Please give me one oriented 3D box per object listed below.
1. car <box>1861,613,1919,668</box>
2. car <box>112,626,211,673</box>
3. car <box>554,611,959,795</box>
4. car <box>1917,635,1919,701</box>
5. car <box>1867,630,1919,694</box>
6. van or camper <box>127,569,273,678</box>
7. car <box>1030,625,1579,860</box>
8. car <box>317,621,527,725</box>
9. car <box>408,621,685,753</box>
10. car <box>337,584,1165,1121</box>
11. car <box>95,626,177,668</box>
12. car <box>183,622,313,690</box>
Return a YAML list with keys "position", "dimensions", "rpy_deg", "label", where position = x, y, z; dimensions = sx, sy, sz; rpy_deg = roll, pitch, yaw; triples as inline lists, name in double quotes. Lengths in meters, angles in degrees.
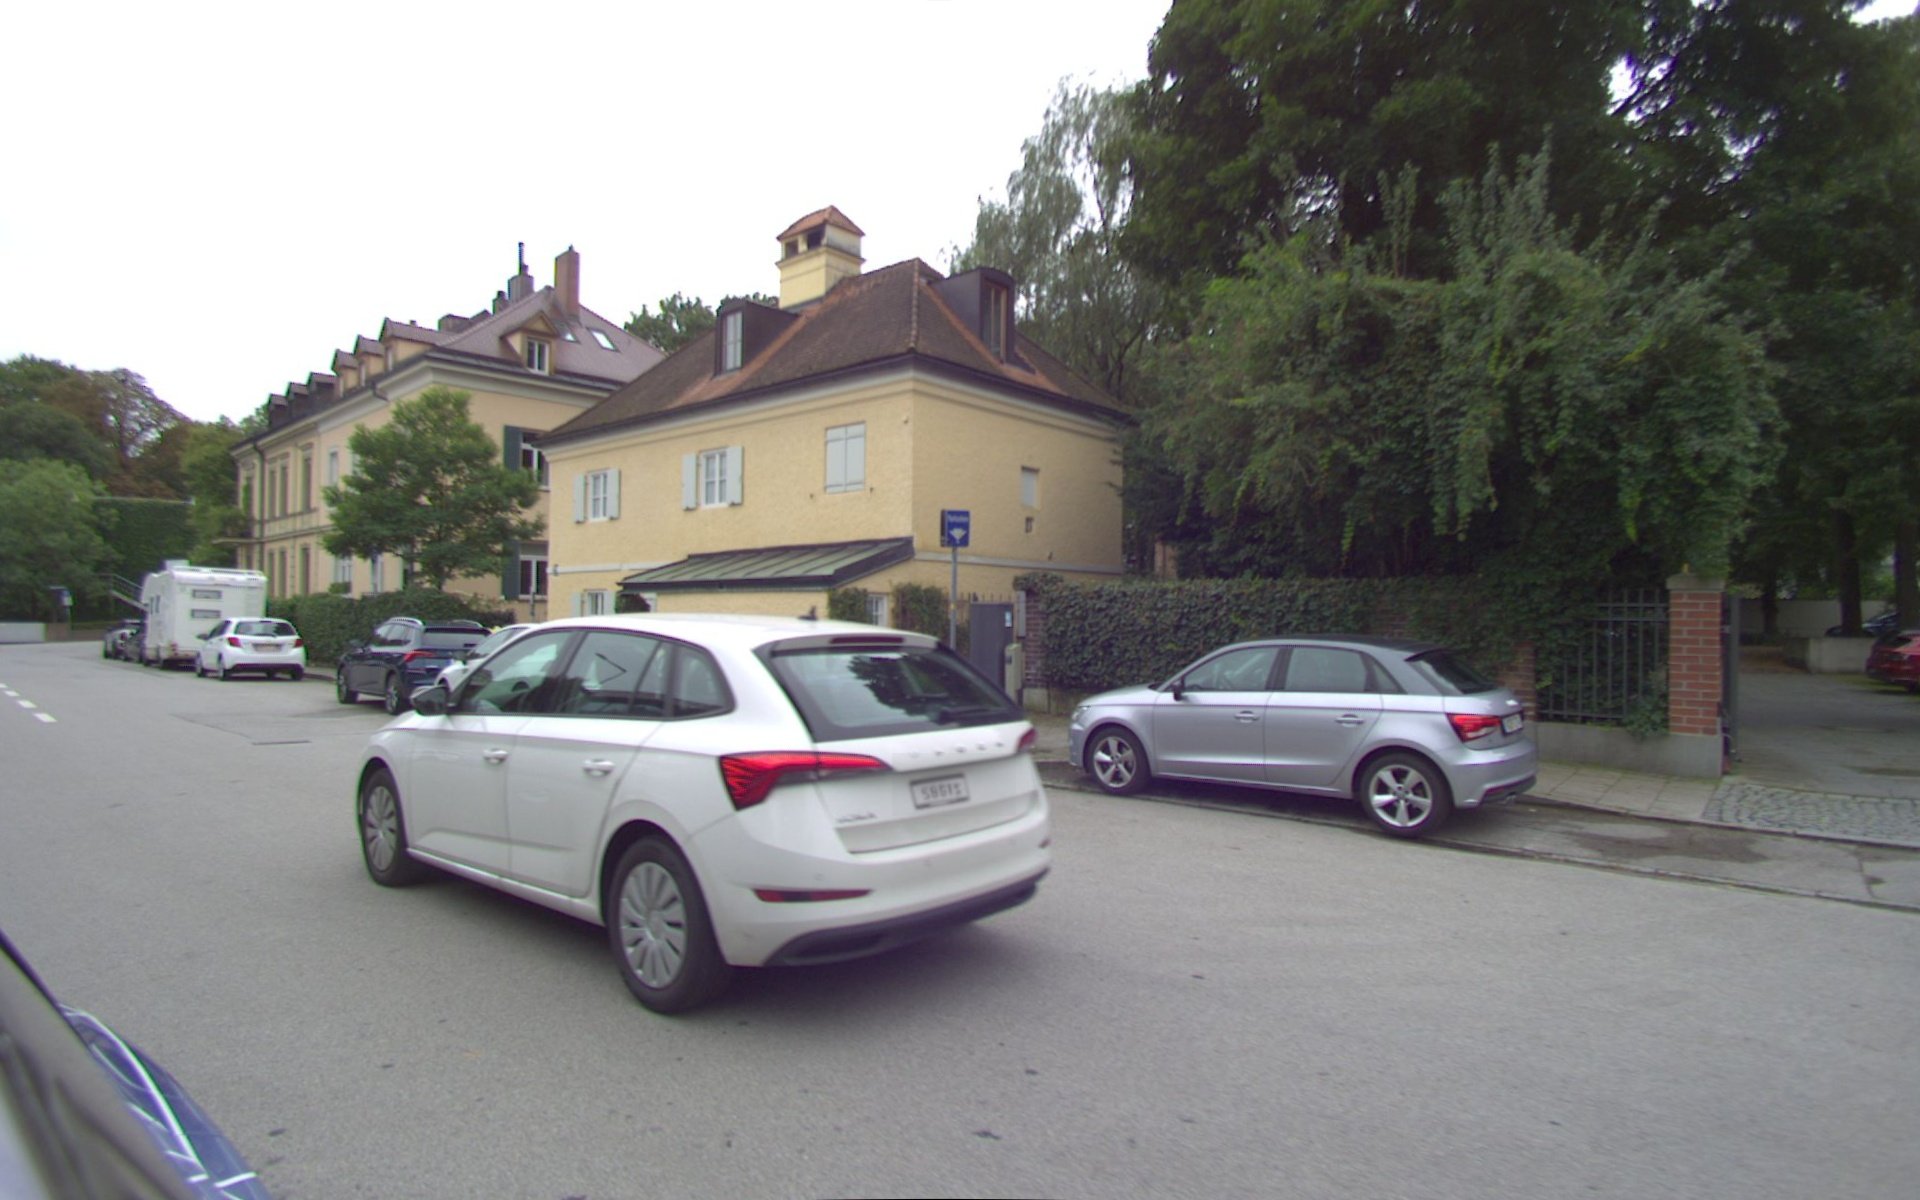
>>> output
- position: [36.367, 1.491, 37.580]
  dimensions: [3.984, 2.029, 1.980]
  rpy_deg: [-1, -1, 30]
  label: "car"
- position: [-28.251, 1.725, 35.756]
  dimensions: [4.821, 1.520, 1.915]
  rpy_deg: [-1, -5, 43]
  label: "car"
- position: [-2.328, 0.967, 10.765]
  dimensions: [4.560, 1.547, 1.825]
  rpy_deg: [-1, -5, 42]
  label: "car"
- position: [21.673, 1.396, 19.833]
  dimensions: [3.864, 1.399, 1.737]
  rpy_deg: [-1, -2, 29]
  label: "car"
- position: [22.859, 1.367, 22.349]
  dimensions: [3.864, 1.399, 1.737]
  rpy_deg: [-1, -2, 29]
  label: "car"
- position: [-23.291, 0.764, 30.869]
  dimensions: [7.215, 2.963, 2.427]
  rpy_deg: [-2, -4, 45]
  label: "van or camper"
- position: [2.778, 1.034, 8.746]
  dimensions: [4.147, 1.547, 1.722]
  rpy_deg: [-1, -5, 42]
  label: "car"
- position: [-9.382, 1.189, 17.479]
  dimensions: [4.442, 1.547, 1.824]
  rpy_deg: [-1, -4, 44]
  label: "car"
- position: [-5.896, 1.123, 14.147]
  dimensions: [4.522, 1.547, 1.824]
  rpy_deg: [-2, -5, 44]
  label: "car"
- position: [-1.279, 0.744, 4.850]
  dimensions: [4.132, 1.486, 1.754]
  rpy_deg: [-1, -2, 41]
  label: "car"
- position: [-32.473, 1.838, 39.839]
  dimensions: [4.532, 1.547, 1.914]
  rpy_deg: [-2, -5, 44]
  label: "car"
- position: [-17.688, 1.367, 25.076]
  dimensions: [4.228, 1.547, 1.759]
  rpy_deg: [-2, -5, 43]
  label: "car"
